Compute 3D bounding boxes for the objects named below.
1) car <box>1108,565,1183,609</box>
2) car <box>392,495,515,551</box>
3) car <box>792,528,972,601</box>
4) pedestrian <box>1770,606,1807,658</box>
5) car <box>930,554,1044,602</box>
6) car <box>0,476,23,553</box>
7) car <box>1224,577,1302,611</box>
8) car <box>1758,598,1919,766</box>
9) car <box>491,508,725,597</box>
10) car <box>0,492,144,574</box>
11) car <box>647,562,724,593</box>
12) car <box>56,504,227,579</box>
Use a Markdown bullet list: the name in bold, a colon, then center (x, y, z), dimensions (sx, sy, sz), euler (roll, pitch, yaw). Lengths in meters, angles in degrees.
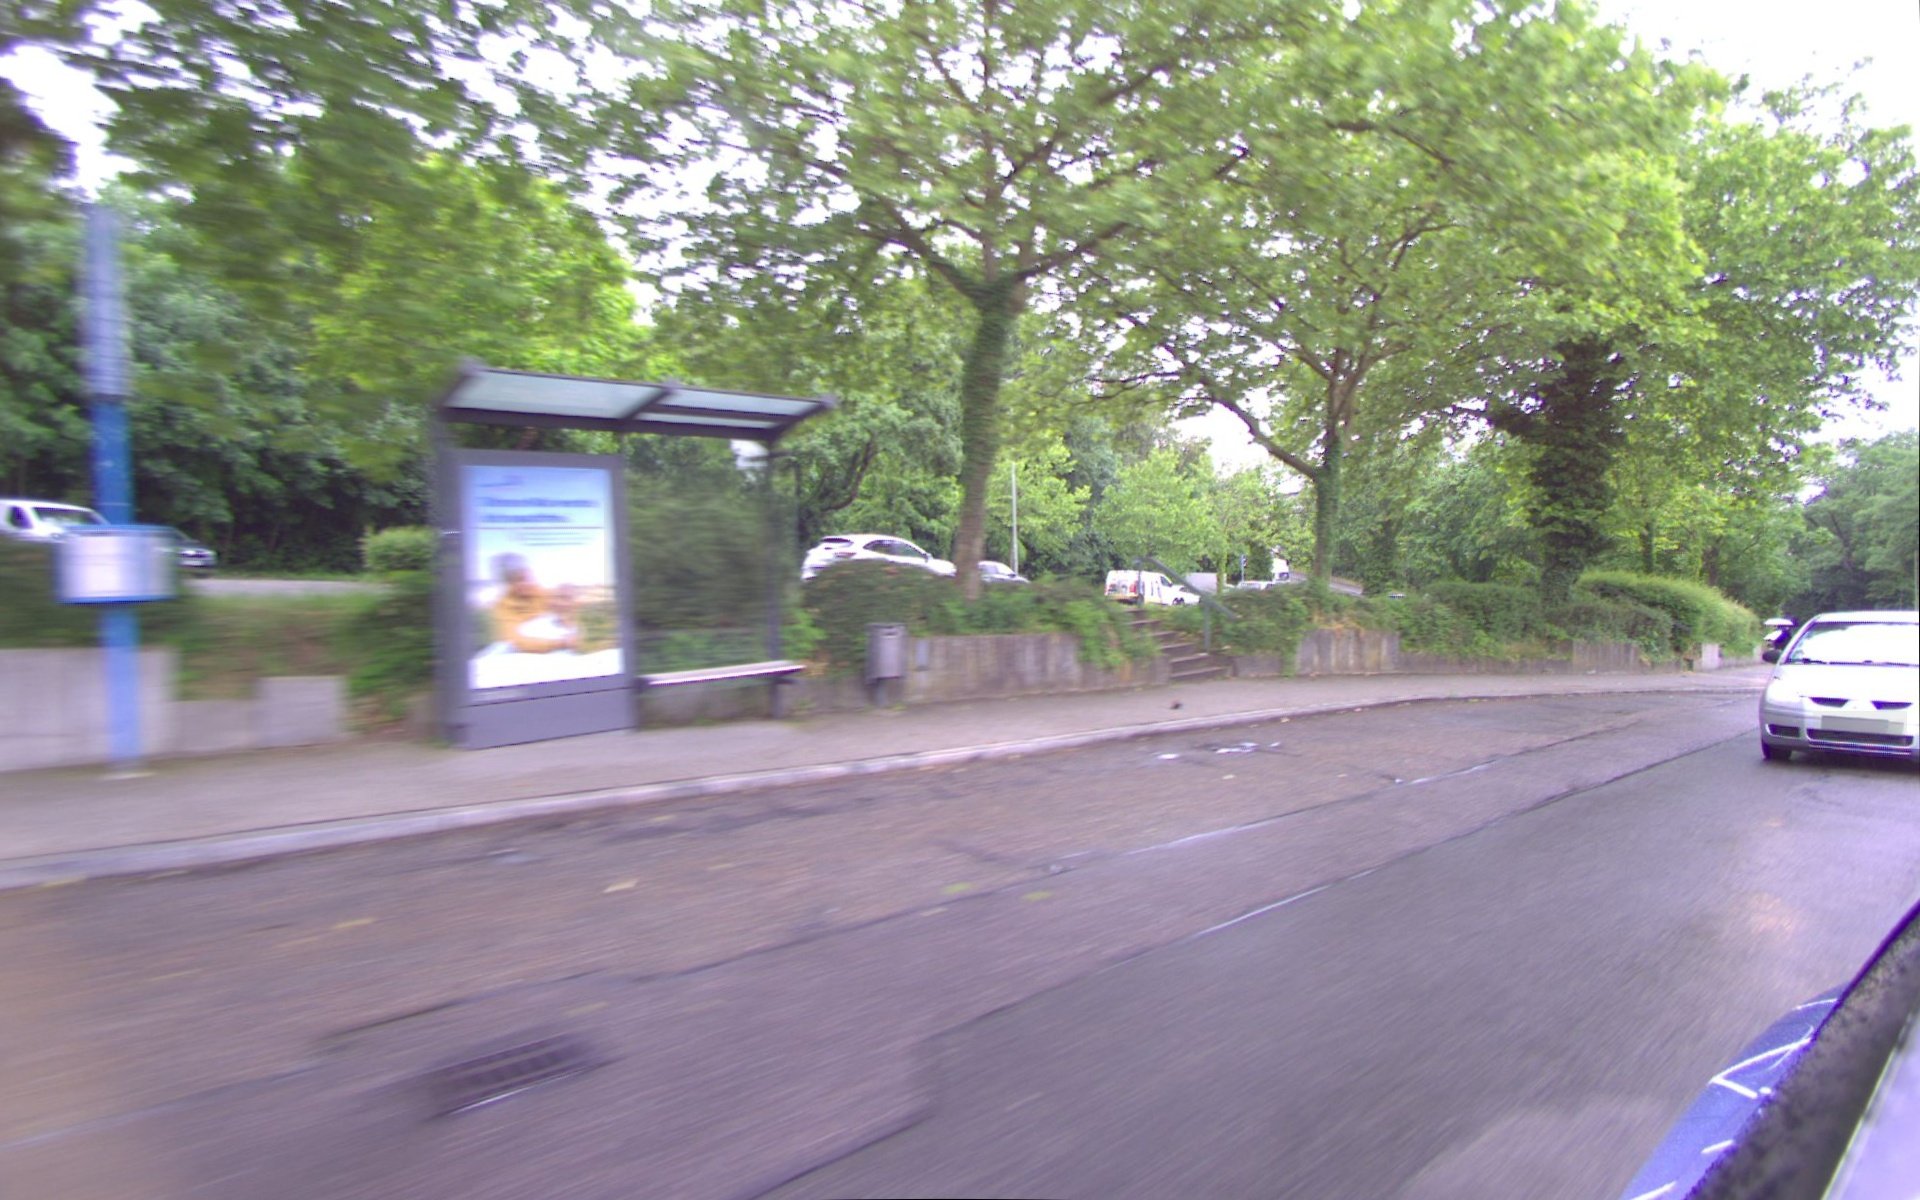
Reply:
- **car**: center (9.545, -0.626, 51.917), dimensions (1.702, 2.040, 4.283), euler (-2, -3, 45)
- **car**: center (-18.935, -2.839, 37.831), dimensions (4.129, 1.792, 1.790), euler (0, -2, 21)
- **car**: center (-1.795, -0.772, 24.225), dimensions (1.894, 1.472, 4.104), euler (-2, -3, 44)
- **pedestrian**: center (31.104, 1.184, 38.000), dimensions (1.050, 1.917, 1.116), euler (0, -1, 41)
- **car**: center (1.037, -0.746, 36.720), dimensions (1.894, 1.472, 4.104), euler (-2, -3, 44)
- **car**: center (-23.721, -1.952, 22.957), dimensions (4.123, 1.687, 1.793), euler (0, -2, 18)
- **car**: center (14.405, -0.251, 48.031), dimensions (1.894, 1.472, 4.104), euler (-2, -3, 44)
- **car**: center (9.984, 0.779, 10.711), dimensions (3.928, 1.524, 1.639), euler (1, -1, -40)
- **car**: center (-7.117, -0.879, 20.716), dimensions (4.102, 1.472, 1.895), euler (2, -3, -44)
- **car**: center (-22.853, -1.620, 25.450), dimensions (4.129, 1.792, 1.790), euler (0, -2, 21)
- **car**: center (-13.448, -1.069, 49.734), dimensions (1.688, 1.338, 3.676), euler (0, -2, 26)
- **car**: center (-22.468, -1.546, 27.790), dimensions (4.129, 1.792, 1.790), euler (0, -2, 21)
